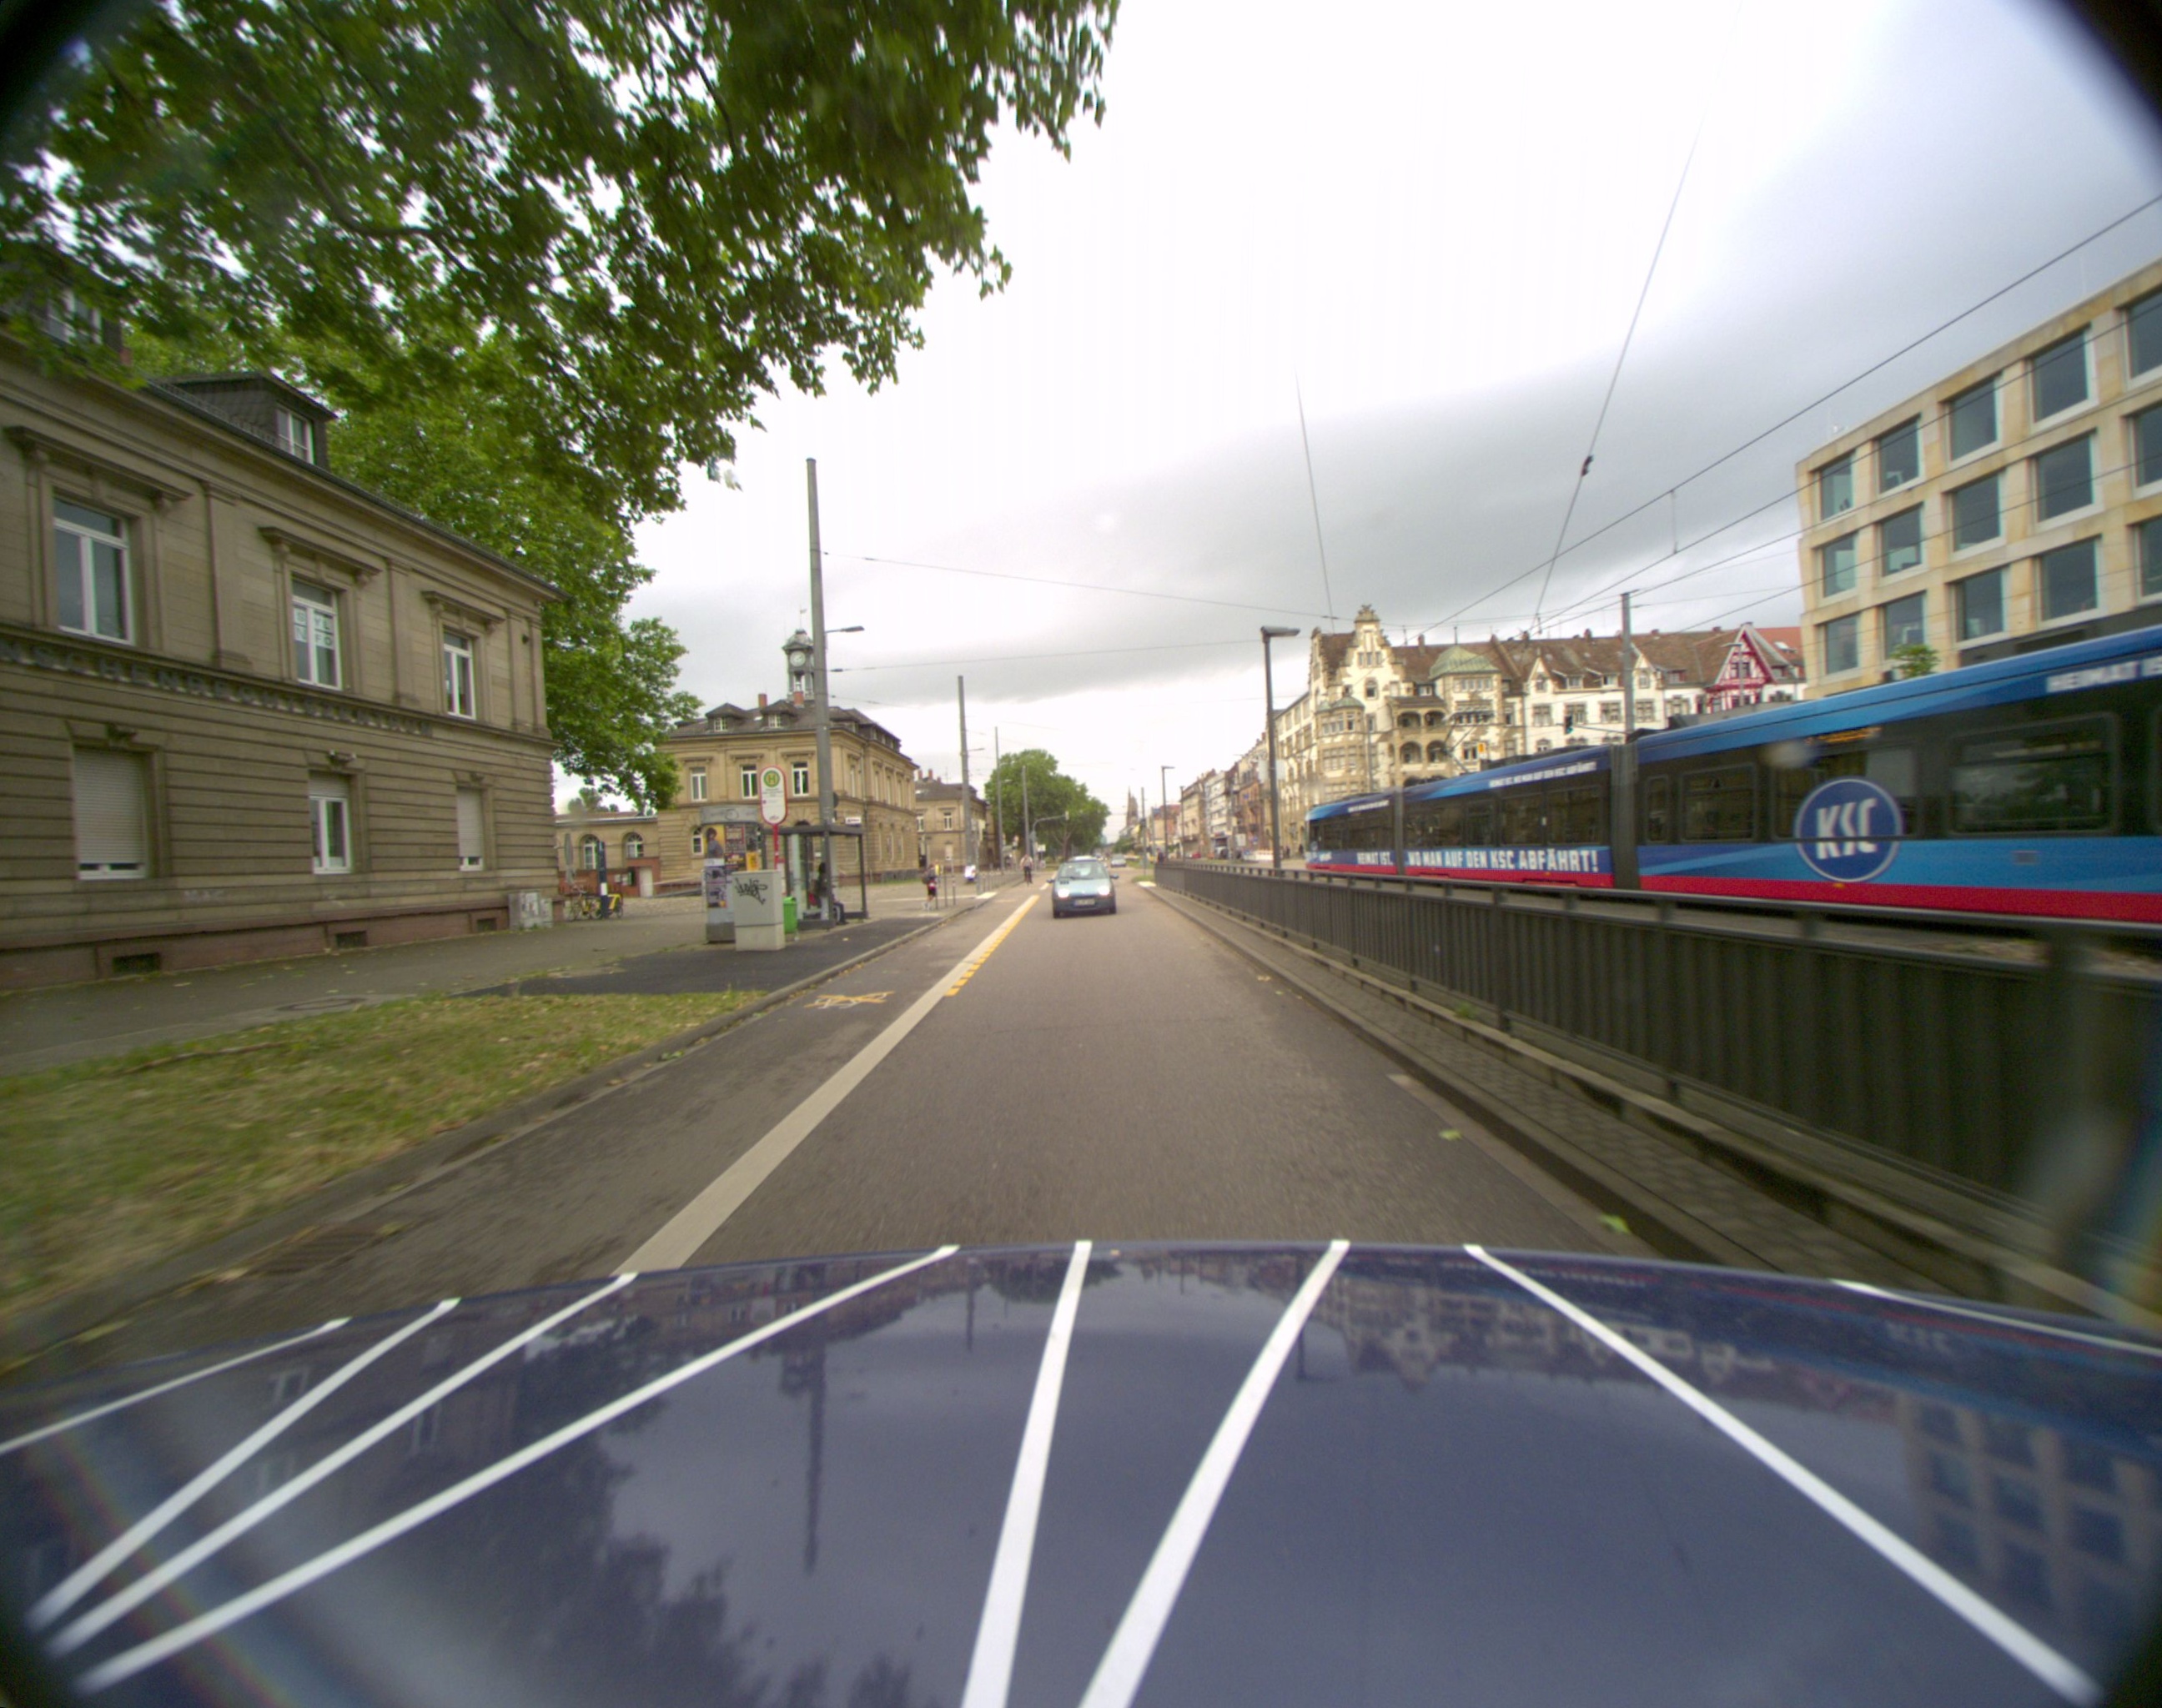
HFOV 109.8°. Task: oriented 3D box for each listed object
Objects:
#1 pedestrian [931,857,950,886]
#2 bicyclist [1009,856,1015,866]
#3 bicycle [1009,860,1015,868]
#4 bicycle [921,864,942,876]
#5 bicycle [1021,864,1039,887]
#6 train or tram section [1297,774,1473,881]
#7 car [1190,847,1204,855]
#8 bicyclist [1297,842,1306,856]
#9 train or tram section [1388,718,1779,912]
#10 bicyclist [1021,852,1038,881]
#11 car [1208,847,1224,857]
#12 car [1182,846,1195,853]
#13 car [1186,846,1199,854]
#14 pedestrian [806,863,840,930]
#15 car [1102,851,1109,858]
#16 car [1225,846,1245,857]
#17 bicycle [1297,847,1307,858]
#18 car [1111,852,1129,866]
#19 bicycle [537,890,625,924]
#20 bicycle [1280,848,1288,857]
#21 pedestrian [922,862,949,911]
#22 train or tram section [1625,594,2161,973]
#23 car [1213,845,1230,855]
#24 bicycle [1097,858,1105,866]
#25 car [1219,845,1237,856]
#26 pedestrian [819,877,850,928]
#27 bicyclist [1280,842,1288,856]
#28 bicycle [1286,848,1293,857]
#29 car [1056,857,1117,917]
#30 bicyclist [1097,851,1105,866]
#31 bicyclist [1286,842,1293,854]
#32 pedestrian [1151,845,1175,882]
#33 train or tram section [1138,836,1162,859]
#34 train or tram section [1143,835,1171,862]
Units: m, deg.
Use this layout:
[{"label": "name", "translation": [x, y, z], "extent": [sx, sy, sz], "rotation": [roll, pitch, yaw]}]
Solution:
[{"label": "pedestrian", "translation": [-8.470, 1.029, 45.727], "extent": [0.720, 1.668, 1.000], "rotation": [-2, 1, 11]}, {"label": "bicyclist", "translation": [-10.227, 1.043, 112.776], "extent": [0.694, 1.392, 0.816], "rotation": [-3, 1, -7]}, {"label": "bicycle", "translation": [-10.219, 1.457, 112.814], "extent": [0.677, 1.158, 2.112], "rotation": [-3, 1, -8]}, {"label": "bicycle", "translation": [-13.373, 1.428, 68.011], "extent": [1.859, 1.072, 0.546], "rotation": [0, 1, -17]}, {"label": "bicycle", "translation": [-2.881, 1.198, 42.879], "extent": [0.814, 1.163, 2.276], "rotation": [-3, 1, -1]}, {"label": "train or tram section", "translation": [12.264, -1.000, 32.338], "extent": [2.861, 3.619, 11.764], "rotation": [-2, 1, 1]}, {"label": "car", "translation": [24.274, -0.721, 158.961], "extent": [1.999, 1.587, 3.999], "rotation": [-3, 1, -2]}, {"label": "bicyclist", "translation": [23.919, -0.547, 82.381], "extent": [0.750, 1.511, 0.766], "rotation": [-3, -1, 7]}, {"label": "train or tram section", "translation": [12.052, -0.824, 20.500], "extent": [2.862, 3.619, 11.698], "rotation": [-2, 1, 1]}, {"label": "bicyclist", "translation": [-2.908, 0.690, 42.814], "extent": [0.812, 1.591, 1.189], "rotation": [-3, 1, 0]}, {"label": "car", "translation": [23.815, -0.344, 134.152], "extent": [1.999, 1.587, 3.999], "rotation": [-3, 1, -2]}, {"label": "car", "translation": [24.175, -0.978, 171.104], "extent": [1.999, 1.587, 3.999], "rotation": [-3, 1, -2]}, {"label": "car", "translation": [24.211, -0.962, 164.815], "extent": [1.999, 1.587, 3.999], "rotation": [-3, 1, -2]}, {"label": "pedestrian", "translation": [-6.159, 1.004, 18.172], "extent": [0.477, 1.554, 0.702], "rotation": [-2, 1, 1]}, {"label": "car", "translation": [8.033, 0.155, 245.960], "extent": [1.999, 2.002, 3.999], "rotation": [-3, 1, -1]}, {"label": "car", "translation": [23.248, -0.404, 114.585], "extent": [1.999, 1.434, 3.999], "rotation": [-3, 1, -2]}, {"label": "bicycle", "translation": [23.942, -0.152, 82.384], "extent": [0.750, 1.030, 1.917], "rotation": [-3, -1, 7]}, {"label": "car", "translation": [4.698, 0.597, 91.847], "extent": [1.869, 1.630, 3.774], "rotation": [-3, 1, -1]}, {"label": "bicycle", "translation": [-17.913, 1.875, 27.382], "extent": [0.902, 1.061, 3.407], "rotation": [-3, -2, -1]}, {"label": "bicycle", "translation": [23.704, -0.151, 88.577], "extent": [0.723, 1.030, 1.912], "rotation": [-3, -1, 18]}, {"label": "pedestrian", "translation": [-4.711, 1.047, 24.578], "extent": [0.552, 1.520, 0.639], "rotation": [-2, 1, 18]}, {"label": "train or tram section", "translation": [11.902, -0.741, 7.840], "extent": [2.862, 3.671, 13.518], "rotation": [-3, 1, 0]}, {"label": "car", "translation": [23.504, -0.671, 127.250], "extent": [1.999, 1.587, 3.999], "rotation": [-3, 1, -2]}, {"label": "bicycle", "translation": [2.313, 0.928, 88.255], "extent": [0.812, 0.939, 2.147], "rotation": [-3, -2, -1]}, {"label": "car", "translation": [23.341, -0.571, 120.729], "extent": [1.999, 1.587, 3.999], "rotation": [-3, 1, -2]}, {"label": "pedestrian", "translation": [-6.274, 1.218, 19.353], "extent": [0.477, 1.227, 0.702], "rotation": [-2, 1, 1]}, {"label": "bicyclist", "translation": [23.684, -0.614, 88.574], "extent": [0.723, 1.596, 0.860], "rotation": [-3, 0, 18]}, {"label": "bicycle", "translation": [24.931, -0.191, 90.852], "extent": [0.707, 1.031, 2.025], "rotation": [-3, 0, 18]}, {"label": "car", "translation": [0.215, 0.866, 21.540], "extent": [1.534, 1.464, 3.353], "rotation": [-2, 1, 2]}, {"label": "bicyclist", "translation": [2.286, 0.522, 88.194], "extent": [0.812, 1.586, 0.890], "rotation": [-3, -1, -1]}, {"label": "bicyclist", "translation": [24.908, -0.690, 90.845], "extent": [0.707, 1.435, 0.974], "rotation": [-3, 0, 18]}, {"label": "pedestrian", "translation": [3.775, 0.421, 34.986], "extent": [0.862, 1.633, 0.651], "rotation": [-4, 2, -41]}, {"label": "train or tram section", "translation": [10.684, -1.061, 119.157], "extent": [2.651, 3.417, 13.617], "rotation": [-2, 1, 1]}, {"label": "train or tram section", "translation": [10.384, -0.865, 105.574], "extent": [2.651, 3.417, 13.617], "rotation": [-2, 1, 1]}]
